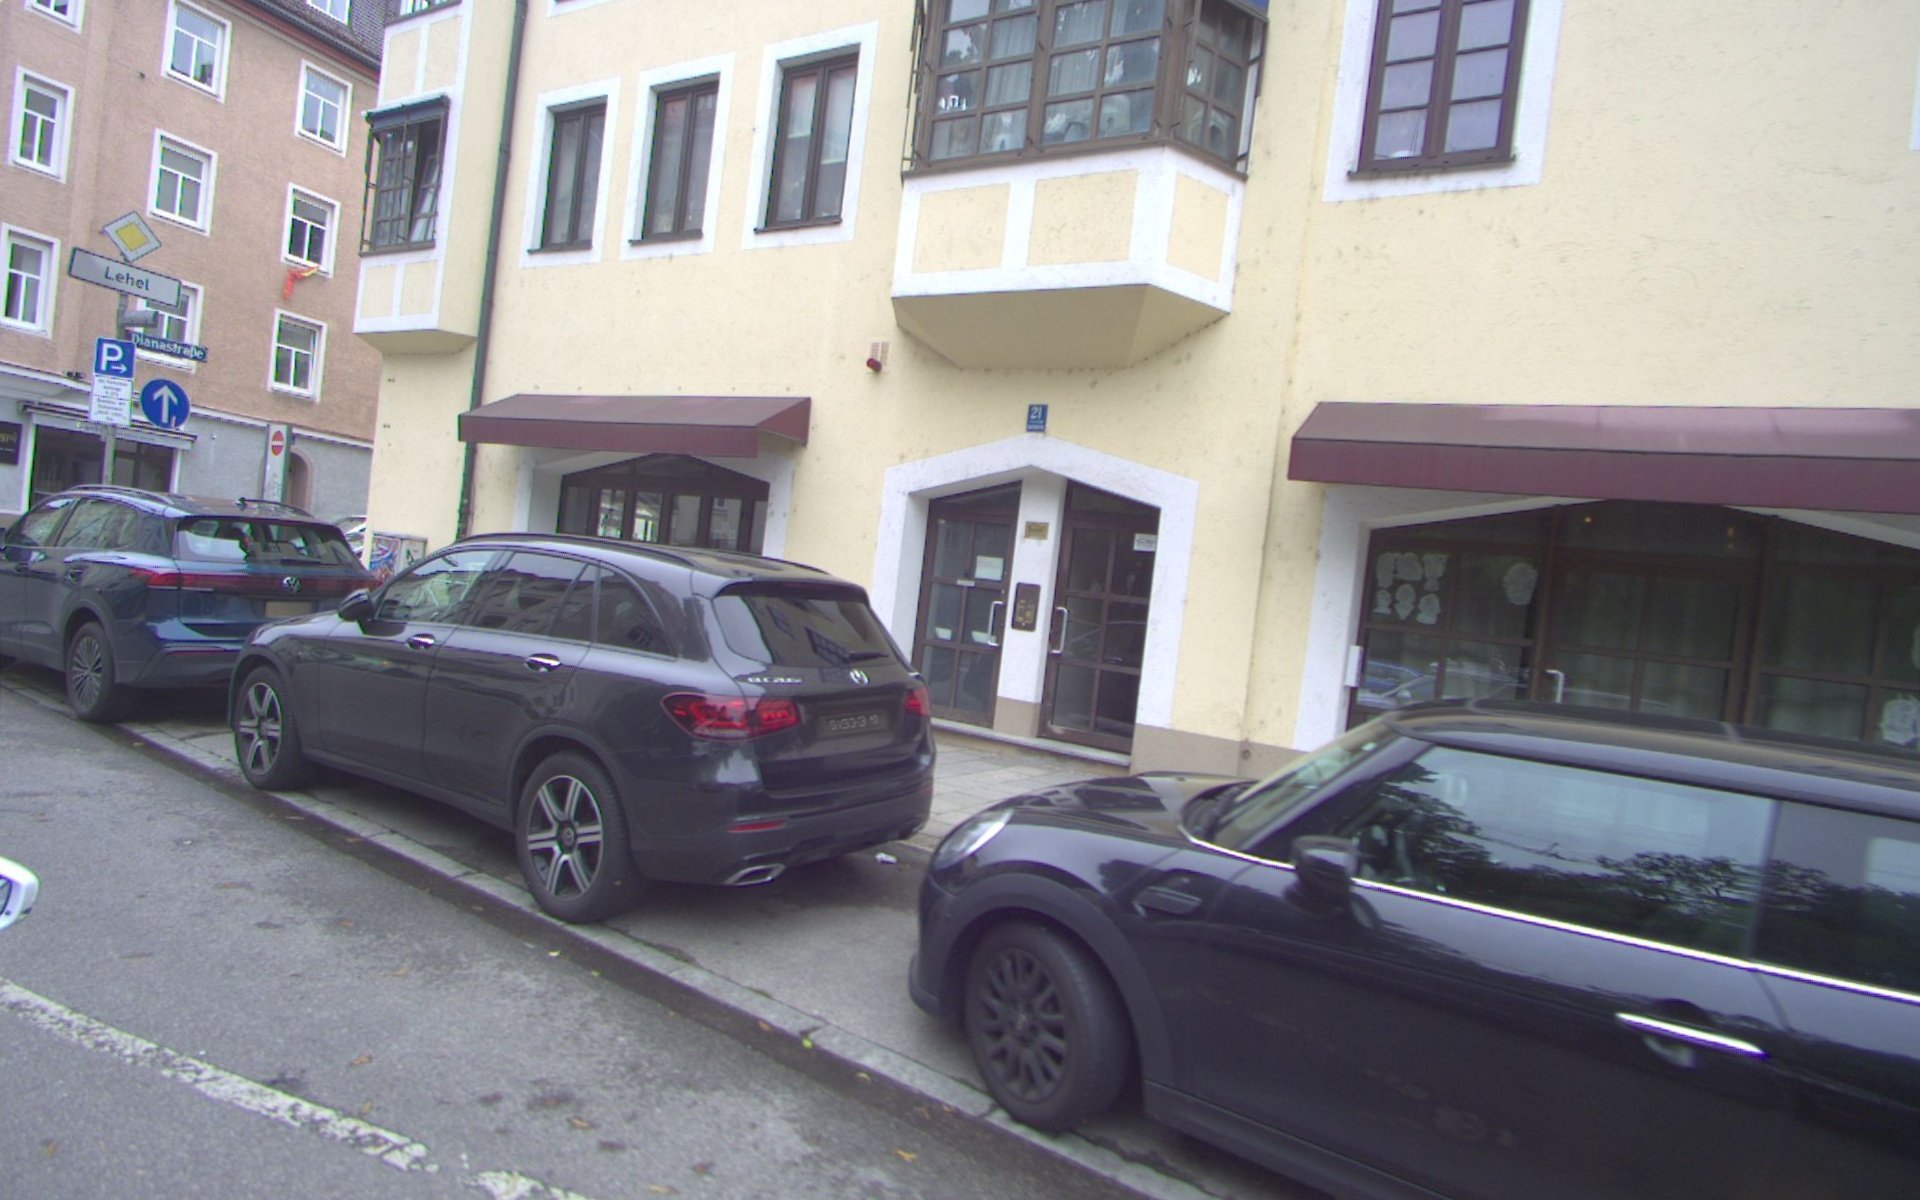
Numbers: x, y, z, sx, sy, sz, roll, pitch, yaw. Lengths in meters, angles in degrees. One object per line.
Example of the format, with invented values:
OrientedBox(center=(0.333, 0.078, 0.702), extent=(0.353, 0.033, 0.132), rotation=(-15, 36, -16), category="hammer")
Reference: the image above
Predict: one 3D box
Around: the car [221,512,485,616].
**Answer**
OrientedBox(center=(-11.837, -0.646, 19.893), extent=(1.717, 1.475, 4.042), rotation=(9, 1, 31), category="car")

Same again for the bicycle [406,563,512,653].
OrientedBox(center=(-6.572, 0.091, 13.174), extent=(1.656, 0.989, 0.271), rotation=(7, 0, 30), category="bicycle")

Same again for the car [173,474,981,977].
OrientedBox(center=(-2.377, 0.350, 5.668), extent=(4.629, 1.701, 1.757), rotation=(7, 2, 33), category="car")

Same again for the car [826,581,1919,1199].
OrientedBox(center=(1.640, 0.920, 3.014), extent=(3.763, 1.515, 1.756), rotation=(7, 2, 36), category="car")

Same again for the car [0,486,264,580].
OrientedBox(center=(-17.690, -1.373, 21.494), extent=(1.892, 1.446, 4.177), rotation=(5, -1, 29), category="car")

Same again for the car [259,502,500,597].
OrientedBox(center=(-15.196, -1.253, 26.693), extent=(2.064, 1.876, 5.136), rotation=(5, -1, 29), category="car")

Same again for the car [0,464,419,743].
OrientedBox(center=(-6.702, -0.121, 8.299), extent=(4.434, 1.701, 1.820), rotation=(7, 2, 30), category="car")
